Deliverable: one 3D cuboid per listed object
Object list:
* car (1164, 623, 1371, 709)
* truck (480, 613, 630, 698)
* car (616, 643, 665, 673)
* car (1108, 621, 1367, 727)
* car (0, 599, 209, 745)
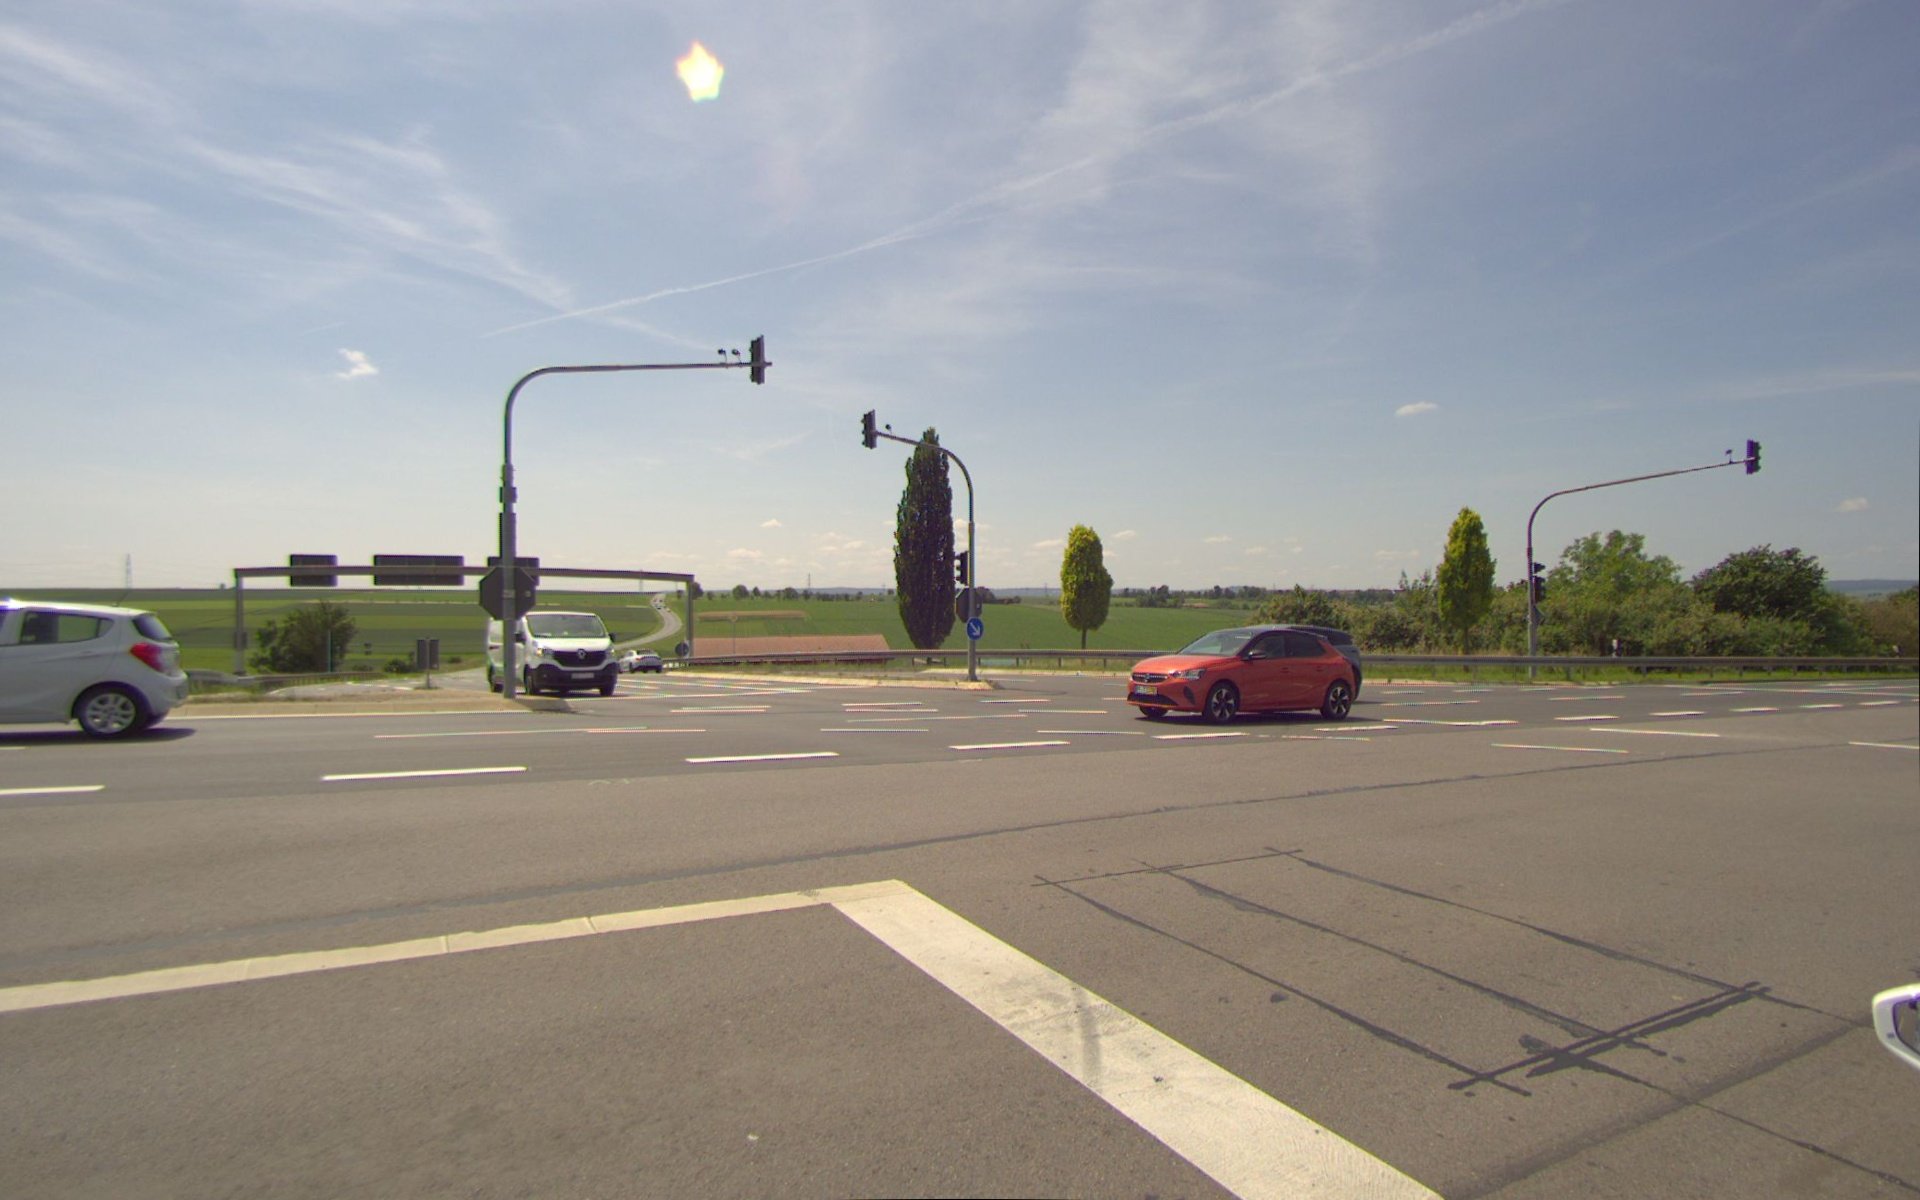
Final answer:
[{"bbox_3d":[6.442,1.366,20.916,4.276,1.645,1.637,3,-3,-29],"label":"car"},{"bbox_3d":[-9.670,1.268,23.699,1.982,1.779,5.228,2,-3,-37],"label":"truck"},{"bbox_3d":[-19.516,3.521,61.207,1.617,1.479,4.450,2,0,-34],"label":"car"},{"bbox_3d":[4.484,1.148,16.115,4.016,1.516,1.637,2,-3,-29],"label":"car"},{"bbox_3d":[-10.748,0.756,11.005,3.755,1.516,1.637,3,-3,-29],"label":"car"}]
